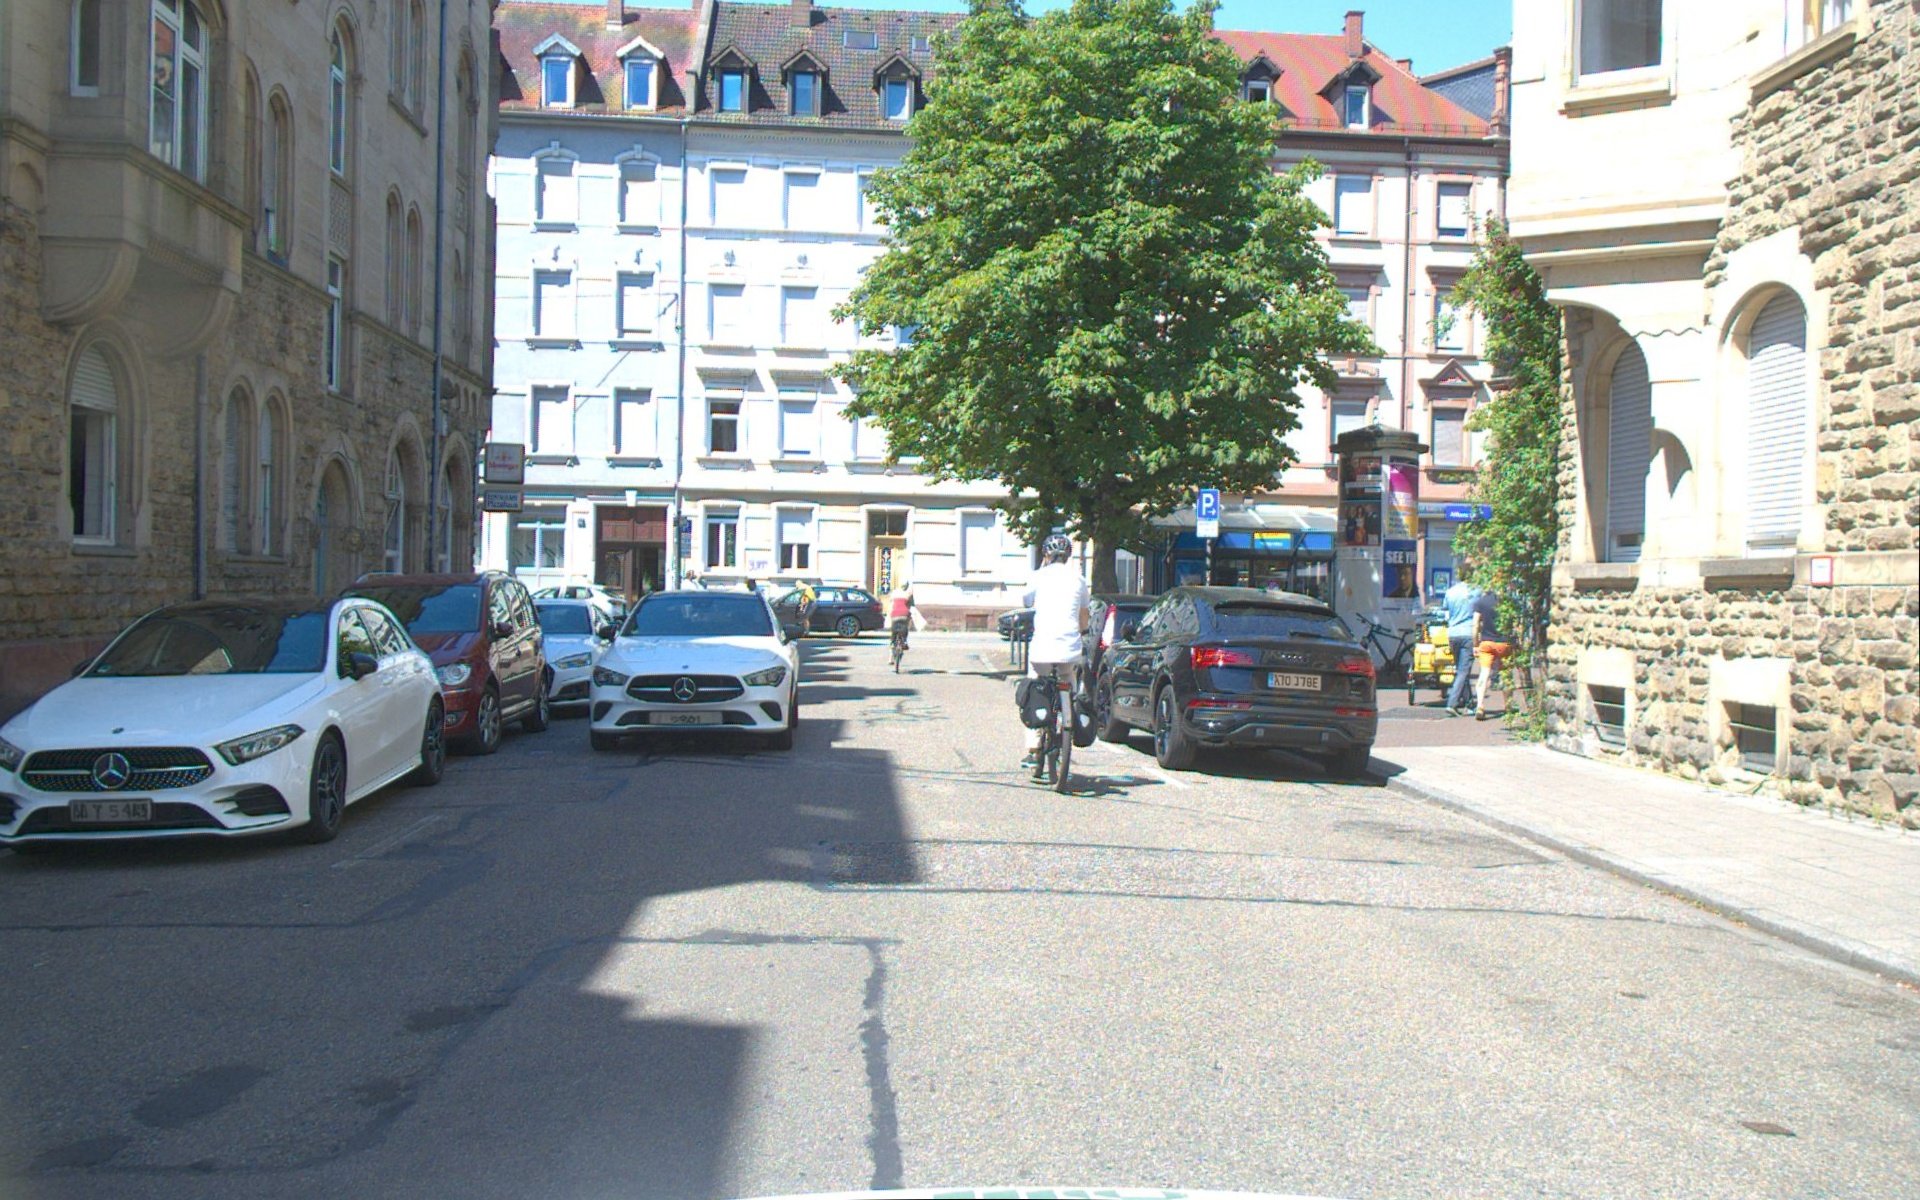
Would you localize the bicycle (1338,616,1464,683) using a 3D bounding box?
[{"bbox_3d":[7.098,0.797,26.680,1.862,1.057,0.633,0,0,-3],"label":"bicycle"}]

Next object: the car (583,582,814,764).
[{"bbox_3d":[-2.400,0.611,16.171,1.805,1.486,4.359,-1,0,-4],"label":"car"}]

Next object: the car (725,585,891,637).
[{"bbox_3d":[-4.426,0.318,48.650,4.763,1.462,1.998,0,0,-4],"label":"car"}]

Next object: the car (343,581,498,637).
[{"bbox_3d":[-15.729,0.251,48.394,3.968,1.589,1.805,0,0,-5],"label":"car"}]

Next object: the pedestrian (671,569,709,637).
[{"bbox_3d":[-7.816,0.088,47.872,0.832,1.922,0.936,0,0,7],"label":"pedestrian"}]

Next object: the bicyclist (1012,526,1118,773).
[{"bbox_3d":[0.786,0.366,12.494,0.657,1.791,0.609,3,0,-3],"label":"bicyclist"}]

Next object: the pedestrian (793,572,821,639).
[{"bbox_3d":[-4.388,0.156,47.432,0.712,1.886,0.682,0,0,-13],"label":"pedestrian"}]

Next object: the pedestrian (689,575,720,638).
[{"bbox_3d":[-7.542,0.190,48.825,0.884,1.846,0.958,0,0,-9],"label":"pedestrian"}]

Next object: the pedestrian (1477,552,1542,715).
[{"bbox_3d":[6.616,0.394,19.890,0.588,1.913,0.882,1,-1,28],"label":"pedestrian"}]

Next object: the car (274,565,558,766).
[{"bbox_3d":[-4.956,0.534,15.617,1.640,1.610,4.048,-1,0,-5],"label":"car"}]

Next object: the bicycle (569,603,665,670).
[{"bbox_3d":[-5.729,0.610,27.637,1.496,1.025,0.366,3,-1,-8],"label":"bicycle"}]

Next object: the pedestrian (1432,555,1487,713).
[{"bbox_3d":[6.151,0.413,20.358,0.508,1.901,0.653,1,-1,28],"label":"pedestrian"}]

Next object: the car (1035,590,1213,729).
[{"bbox_3d":[2.046,0.701,21.714,1.630,1.567,4.175,3,0,-3],"label":"car"}]

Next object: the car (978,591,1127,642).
[{"bbox_3d":[2.698,0.479,49.008,4.209,1.394,1.806,0,2,-4],"label":"car"}]

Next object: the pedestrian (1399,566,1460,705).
[{"bbox_3d":[6.139,0.459,21.650,0.625,1.782,0.614,0,0,-1],"label":"pedestrian"}]

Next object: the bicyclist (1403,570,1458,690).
[{"bbox_3d":[6.707,0.416,23.554,0.664,1.676,0.661,0,0,24],"label":"bicyclist"}]

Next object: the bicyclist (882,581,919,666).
[{"bbox_3d":[-1.105,0.429,30.649,0.657,1.560,0.609,0,0,-3],"label":"bicyclist"}]

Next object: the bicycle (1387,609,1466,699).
[{"bbox_3d":[6.640,0.734,23.449,0.777,1.189,2.578,0,0,22],"label":"bicycle"}]

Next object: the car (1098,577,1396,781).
[{"bbox_3d":[2.593,0.654,16.016,1.702,1.624,4.343,3,0,-5],"label":"car"}]

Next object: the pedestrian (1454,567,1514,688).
[{"bbox_3d":[8.040,0.419,25.380,0.743,1.825,0.574,1,0,-42],"label":"pedestrian"}]

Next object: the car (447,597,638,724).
[{"bbox_3d":[-5.129,0.677,20.835,1.669,1.376,4.509,-1,0,-6],"label":"car"}]

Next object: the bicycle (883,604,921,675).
[{"bbox_3d":[-1.087,0.699,30.698,0.639,1.230,2.440,2,0,-2],"label":"bicycle"}]

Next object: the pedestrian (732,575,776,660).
[{"bbox_3d":[-4.202,0.356,33.756,0.840,1.701,0.773,0,0,-4],"label":"pedestrian"}]

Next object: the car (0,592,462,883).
[{"bbox_3d":[-4.602,0.716,10.811,1.742,1.485,4.274,-1,0,-6],"label":"car"}]

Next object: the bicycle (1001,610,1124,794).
[{"bbox_3d":[0.753,0.723,12.845,0.639,1.250,2.440,2,0,-3],"label":"bicycle"}]
